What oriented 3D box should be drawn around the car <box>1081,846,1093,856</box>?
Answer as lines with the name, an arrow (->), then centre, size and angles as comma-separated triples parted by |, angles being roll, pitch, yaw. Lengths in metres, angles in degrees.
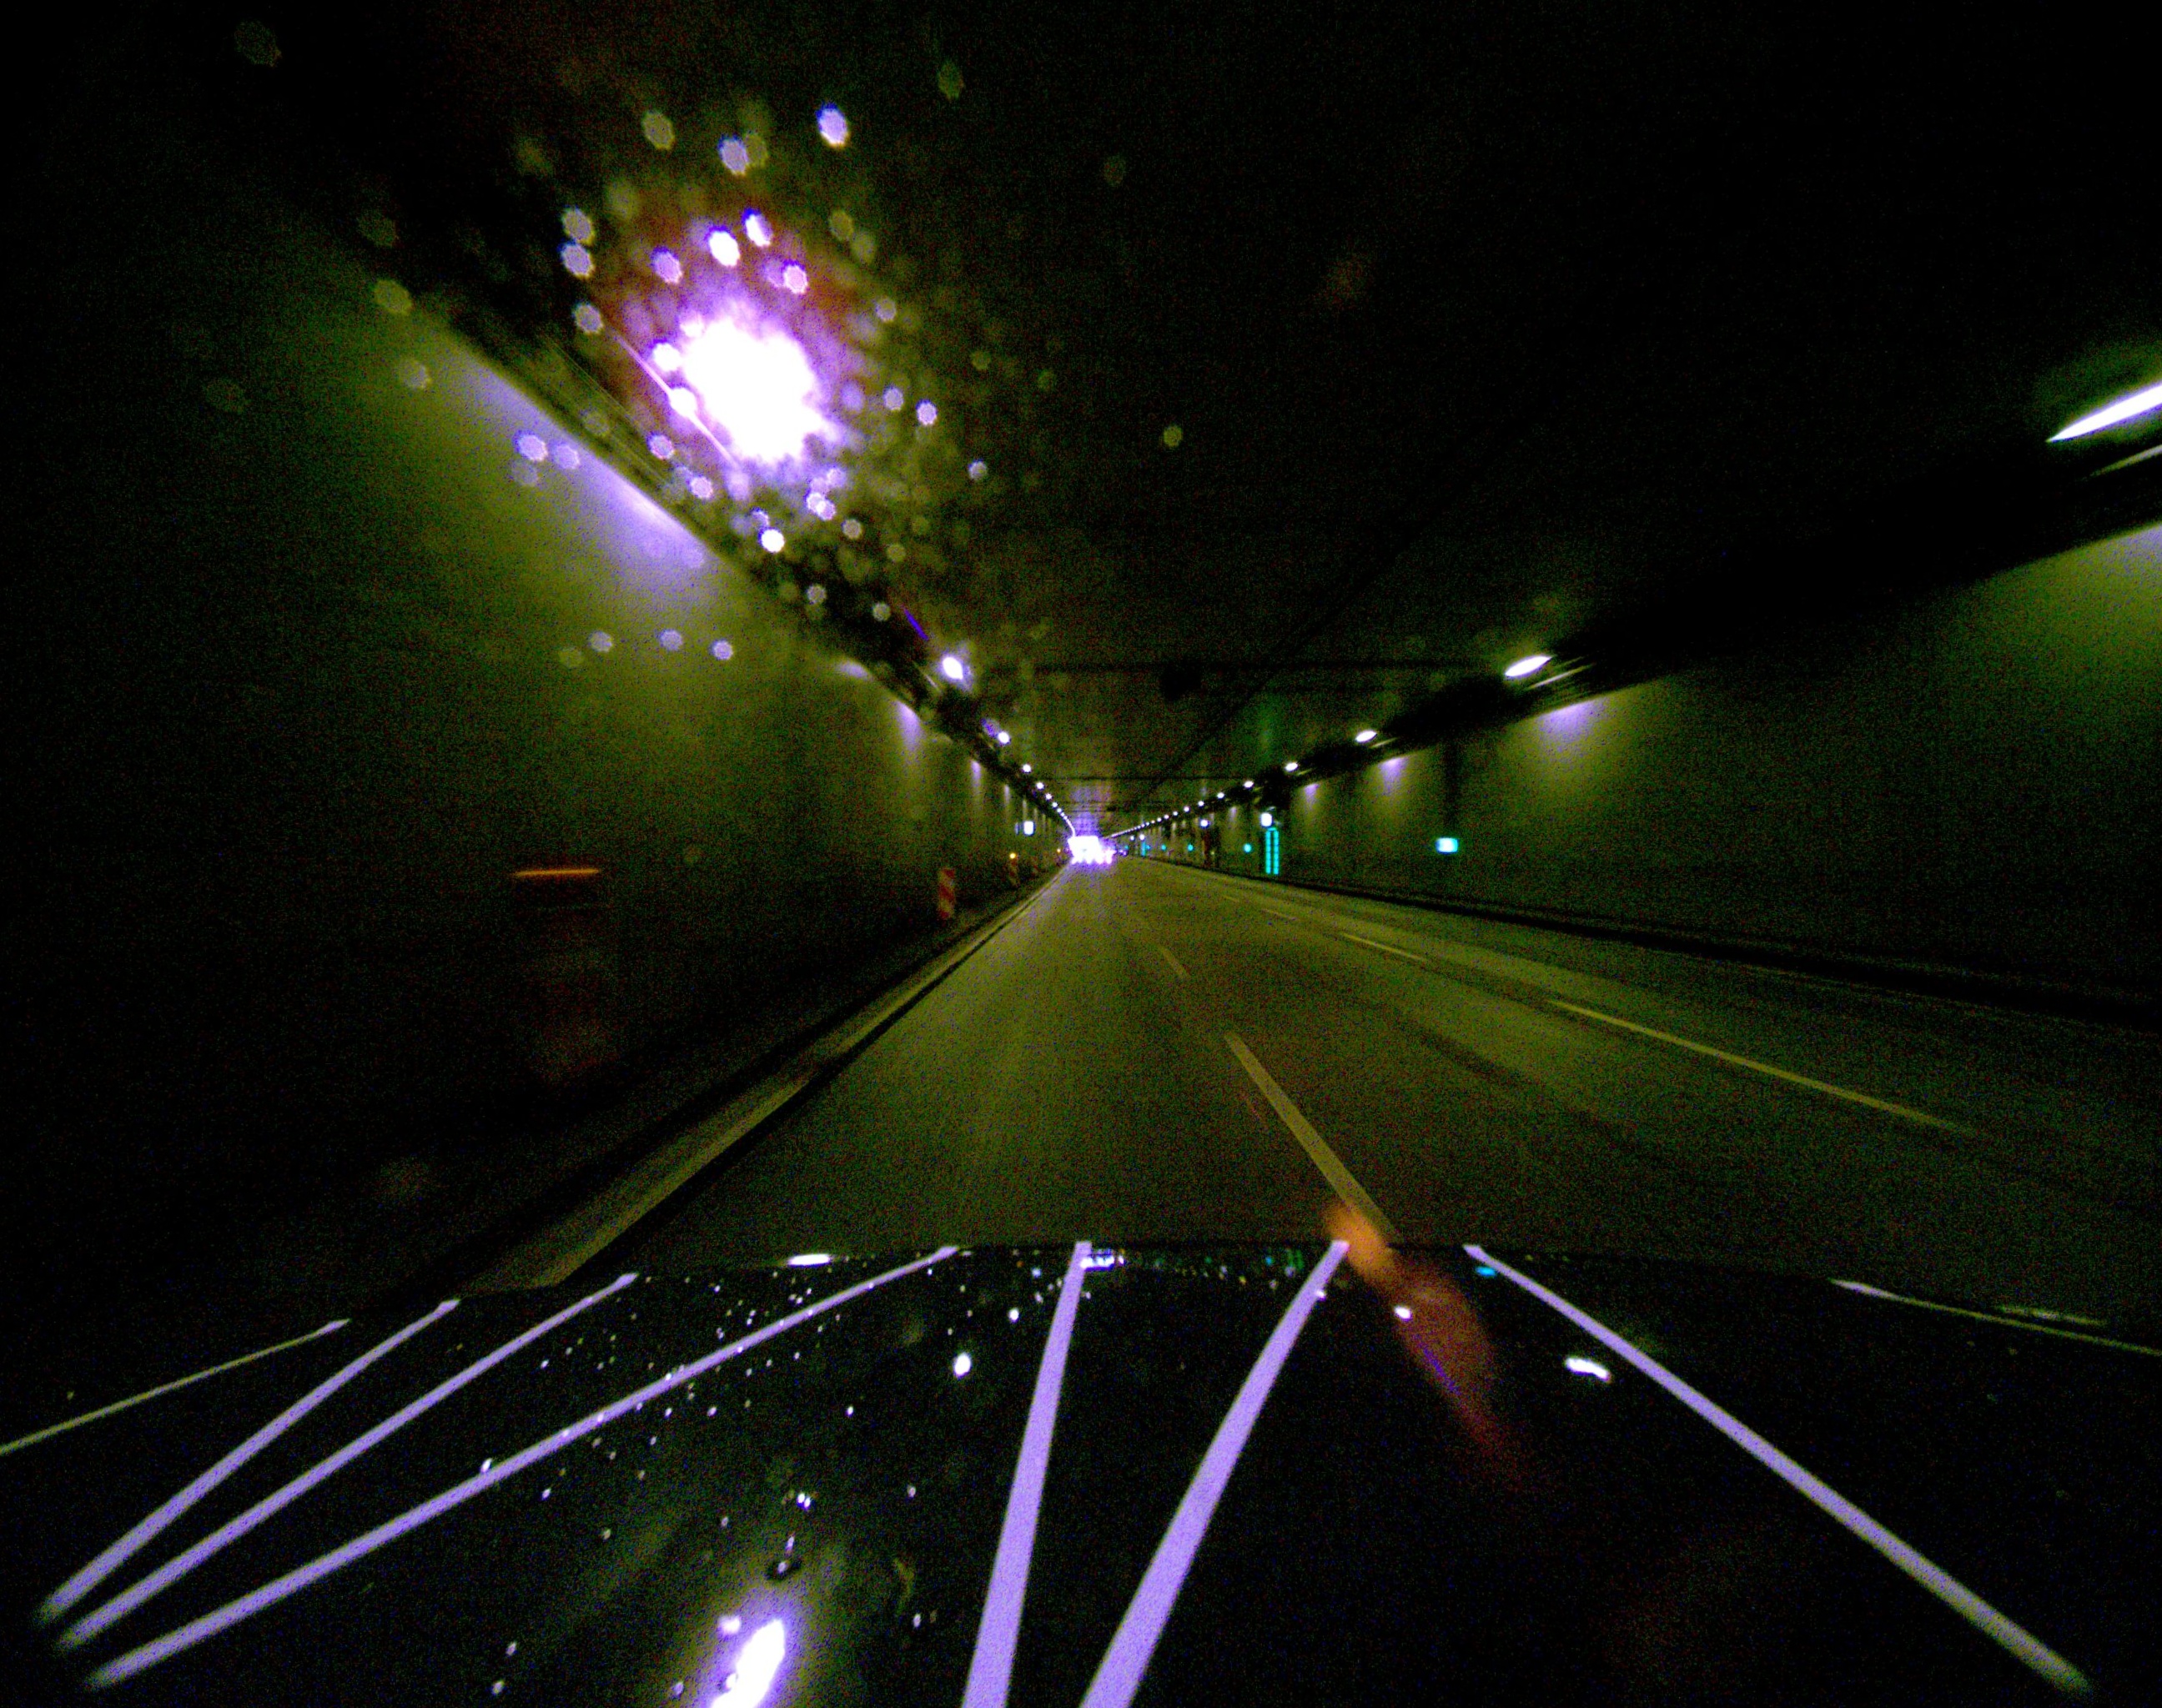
car -> 1.075, -0.575, 135.663 | 1.998, 1.686, 4.000 | -1, 1, 1

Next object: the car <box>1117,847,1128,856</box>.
car -> 7.746, -0.493, 142.788 | 1.998, 1.685, 4.000 | 0, 0, 1

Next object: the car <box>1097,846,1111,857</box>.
car -> 3.700, -0.363, 122.185 | 1.999, 1.685, 4.000 | 1, -1, -1

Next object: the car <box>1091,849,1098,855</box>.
car -> 3.798, -0.538, 212.849 | 1.998, 1.756, 4.000 | -1, 1, 1
